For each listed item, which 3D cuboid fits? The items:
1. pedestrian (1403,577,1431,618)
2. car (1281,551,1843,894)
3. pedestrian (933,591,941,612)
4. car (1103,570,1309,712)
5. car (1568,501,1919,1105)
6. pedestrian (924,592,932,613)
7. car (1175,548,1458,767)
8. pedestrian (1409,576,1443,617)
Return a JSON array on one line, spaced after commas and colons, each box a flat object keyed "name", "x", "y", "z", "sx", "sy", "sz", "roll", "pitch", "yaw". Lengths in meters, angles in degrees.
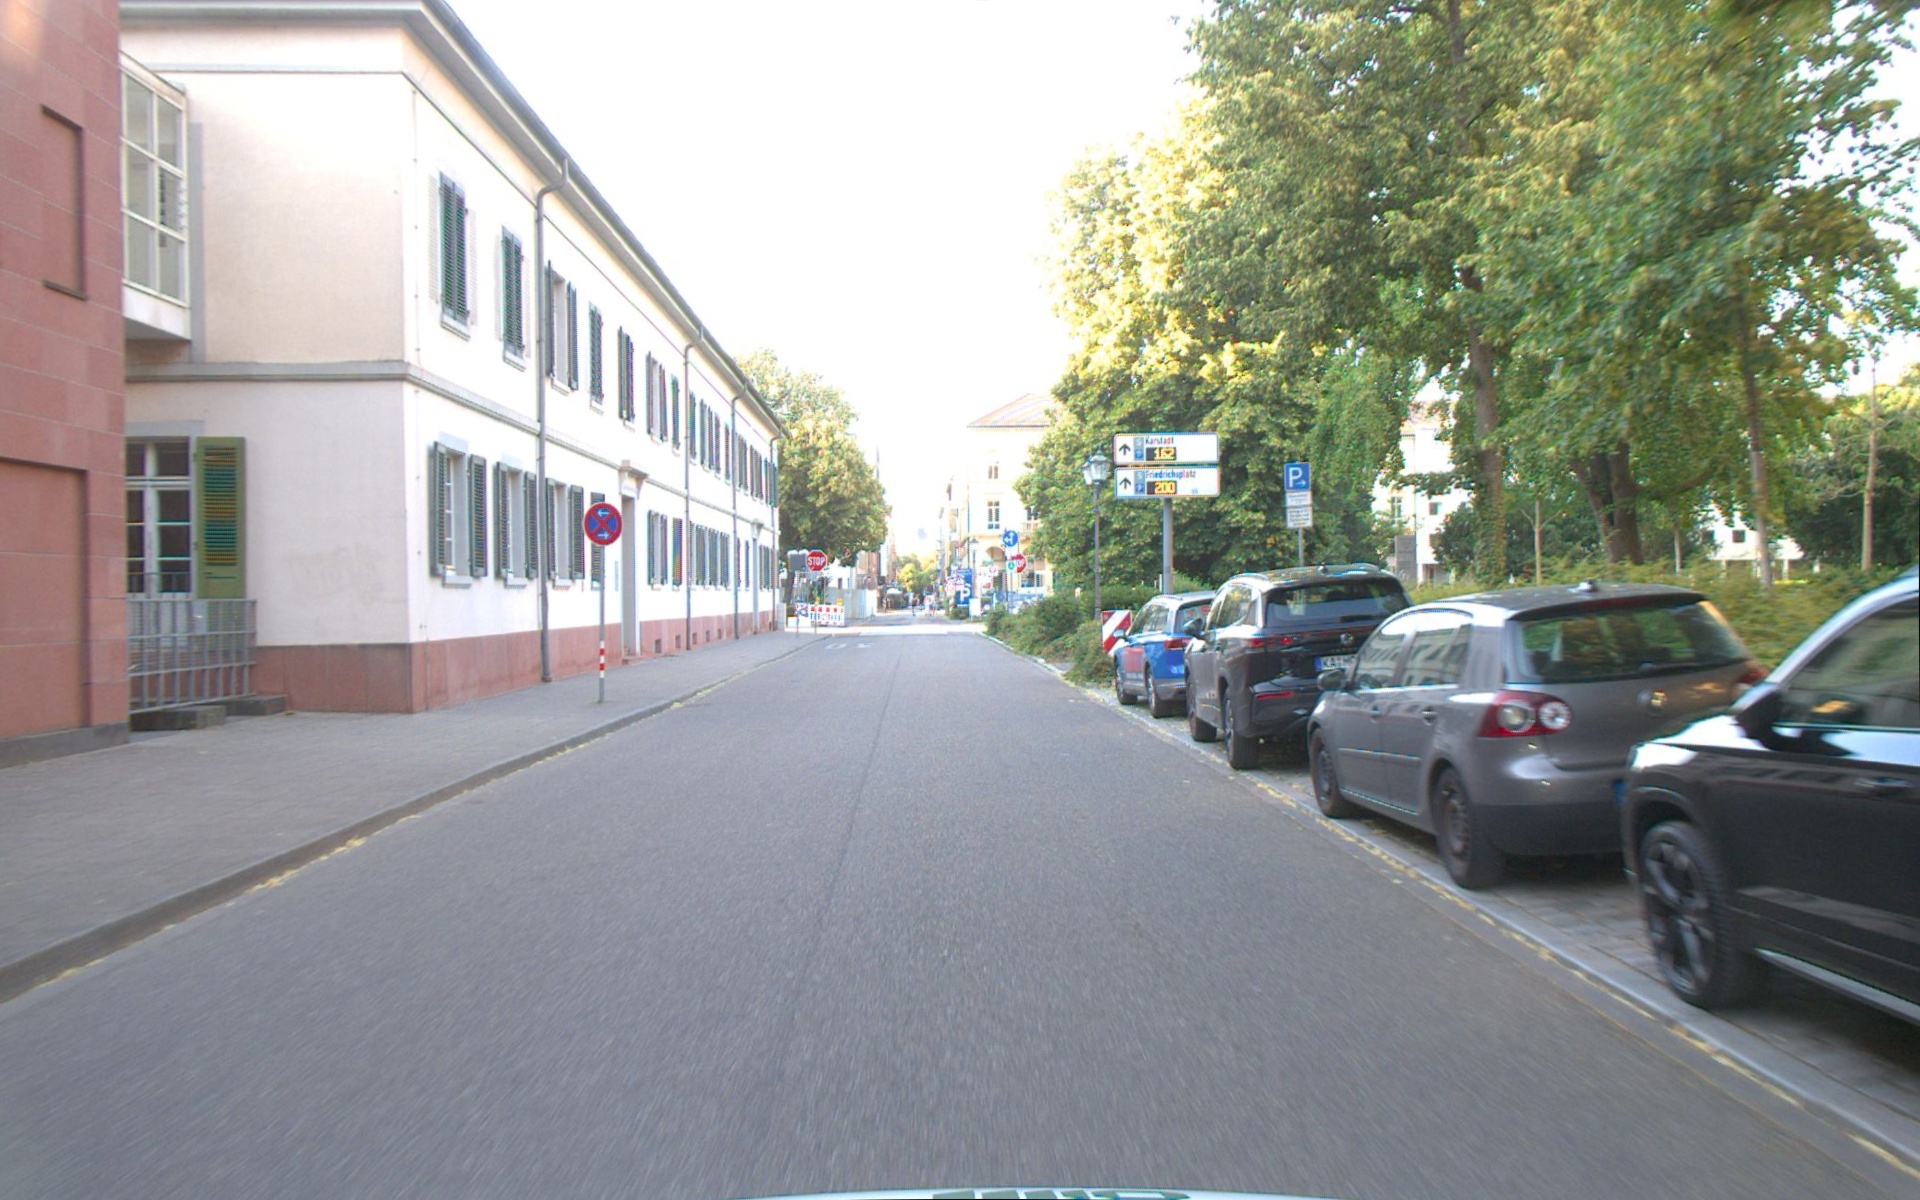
[{"name": "pedestrian", "x": 13.634, "y": -0.078, "z": 49.331, "sx": 0.649, "sy": 1.212, "sz": 0.794, "roll": -2, "pitch": 0, "yaw": 26}, {"name": "car", "x": 3.253, "y": 0.591, "z": 9.907, "sx": 1.689, "sy": 1.565, "sz": 4.188, "roll": -2, "pitch": 0, "yaw": -2}, {"name": "pedestrian", "x": -1.805, "y": 0.110, "z": 129.954, "sx": 0.644, "sy": 1.645, "sz": 0.745, "roll": -1, "pitch": 0, "yaw": -1}, {"name": "car", "x": 3.079, "y": 0.475, "z": 21.624, "sx": 1.690, "sy": 1.514, "sz": 4.608, "roll": -5, "pitch": 0, "yaw": -3}, {"name": "car", "x": 3.535, "y": 0.512, "z": 4.666, "sx": 1.771, "sy": 1.679, "sz": 4.417, "roll": -5, "pitch": 1, "yaw": -2}, {"name": "pedestrian", "x": -2.520, "y": 0.208, "z": 129.881, "sx": 0.644, "sy": 1.645, "sz": 0.745, "roll": -1, "pitch": 0, "yaw": -1}, {"name": "car", "x": 3.121, "y": 0.469, "z": 15.419, "sx": 1.688, "sy": 1.680, "sz": 4.714, "roll": -2, "pitch": 0, "yaw": 1}, {"name": "pedestrian", "x": 14.150, "y": -0.111, "z": 50.254, "sx": 0.790, "sy": 1.212, "sz": 0.789, "roll": -1, "pitch": 0, "yaw": 2}]
